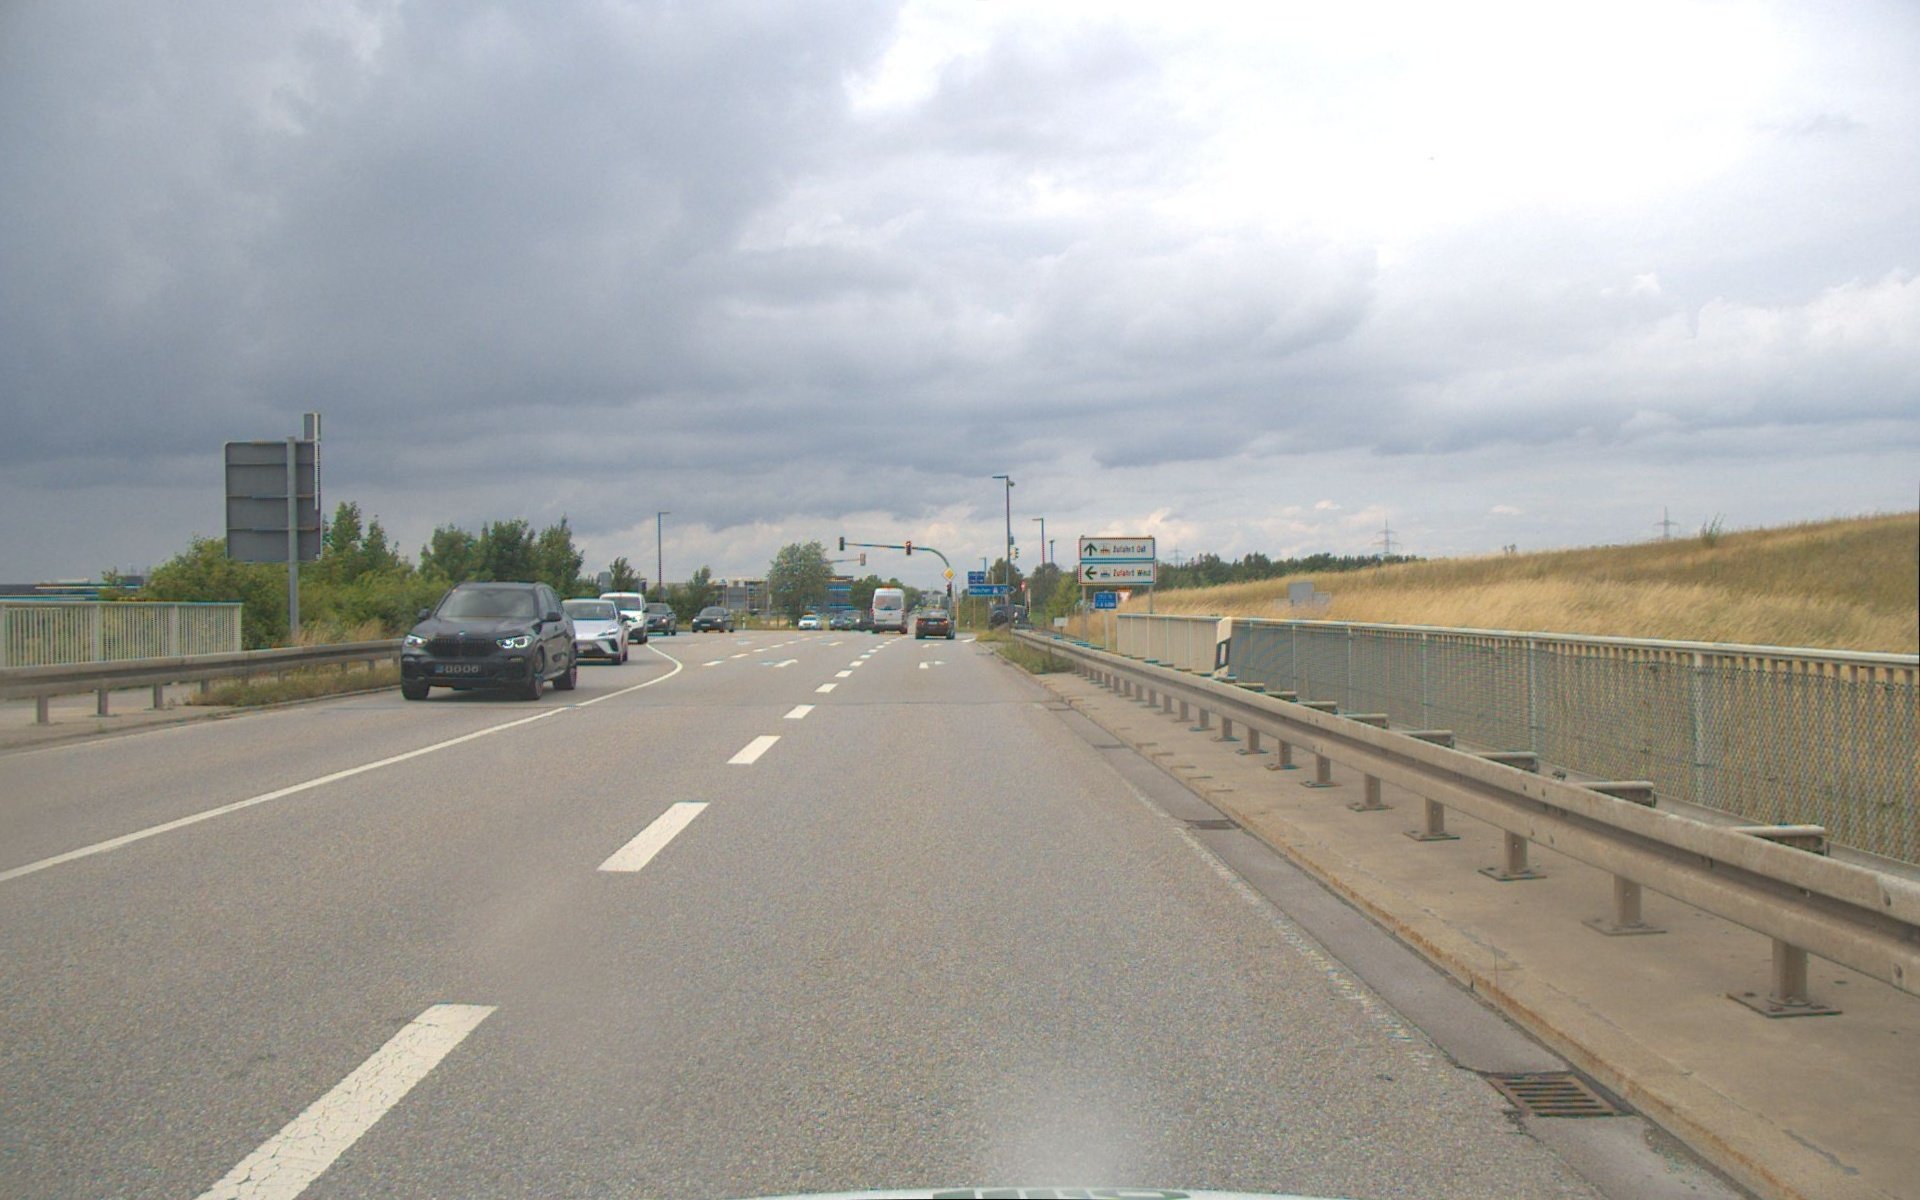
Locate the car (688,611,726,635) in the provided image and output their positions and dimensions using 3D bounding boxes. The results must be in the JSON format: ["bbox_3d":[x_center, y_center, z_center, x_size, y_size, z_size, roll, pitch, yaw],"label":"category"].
[{"bbox_3d":[-14.772,1.320,96.751,1.772,1.392,4.782,0,0,-3],"label":"car"}]

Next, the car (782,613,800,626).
[{"bbox_3d":[-16.781,1.939,164.609,1.450,1.305,3.533,0,0,0],"label":"car"}]

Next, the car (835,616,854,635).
[{"bbox_3d":[-10.413,2.286,149.093,1.659,1.392,3.942,0,3,-3],"label":"car"}]

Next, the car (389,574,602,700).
[{"bbox_3d":[-7.075,0.549,25.748,1.953,1.762,4.761,1,-1,0],"label":"car"}]

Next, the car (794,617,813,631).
[{"bbox_3d":[-14.837,2.269,156.838,1.450,1.305,3.533,0,0,0],"label":"car"}]

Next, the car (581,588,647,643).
[{"bbox_3d":[-12.506,0.566,60.016,1.916,1.907,4.813,1,-1,-7],"label":"car"}]

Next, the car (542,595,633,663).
[{"bbox_3d":[-8.824,0.681,39.468,1.679,1.513,4.273,1,-1,-7],"label":"car"}]

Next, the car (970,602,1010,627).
[{"bbox_3d":[1.908,0.911,104.519,1.646,1.571,3.618,0,0,16],"label":"car"}]

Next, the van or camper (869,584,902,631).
[{"bbox_3d":[-4.375,0.442,97.622,1.838,2.626,3.999,1,0,-1],"label":"van or camper"}]

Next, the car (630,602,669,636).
[{"bbox_3d":[-14.855,0.895,79.303,1.552,1.585,4.140,1,-1,-7],"label":"car"}]

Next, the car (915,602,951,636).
[{"bbox_3d":[-1.218,0.861,75.870,1.486,1.511,3.616,0,0,2],"label":"car"}]

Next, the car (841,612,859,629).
[{"bbox_3d":[-10.488,1.971,158.123,1.659,1.392,3.942,0,3,-3],"label":"car"}]
